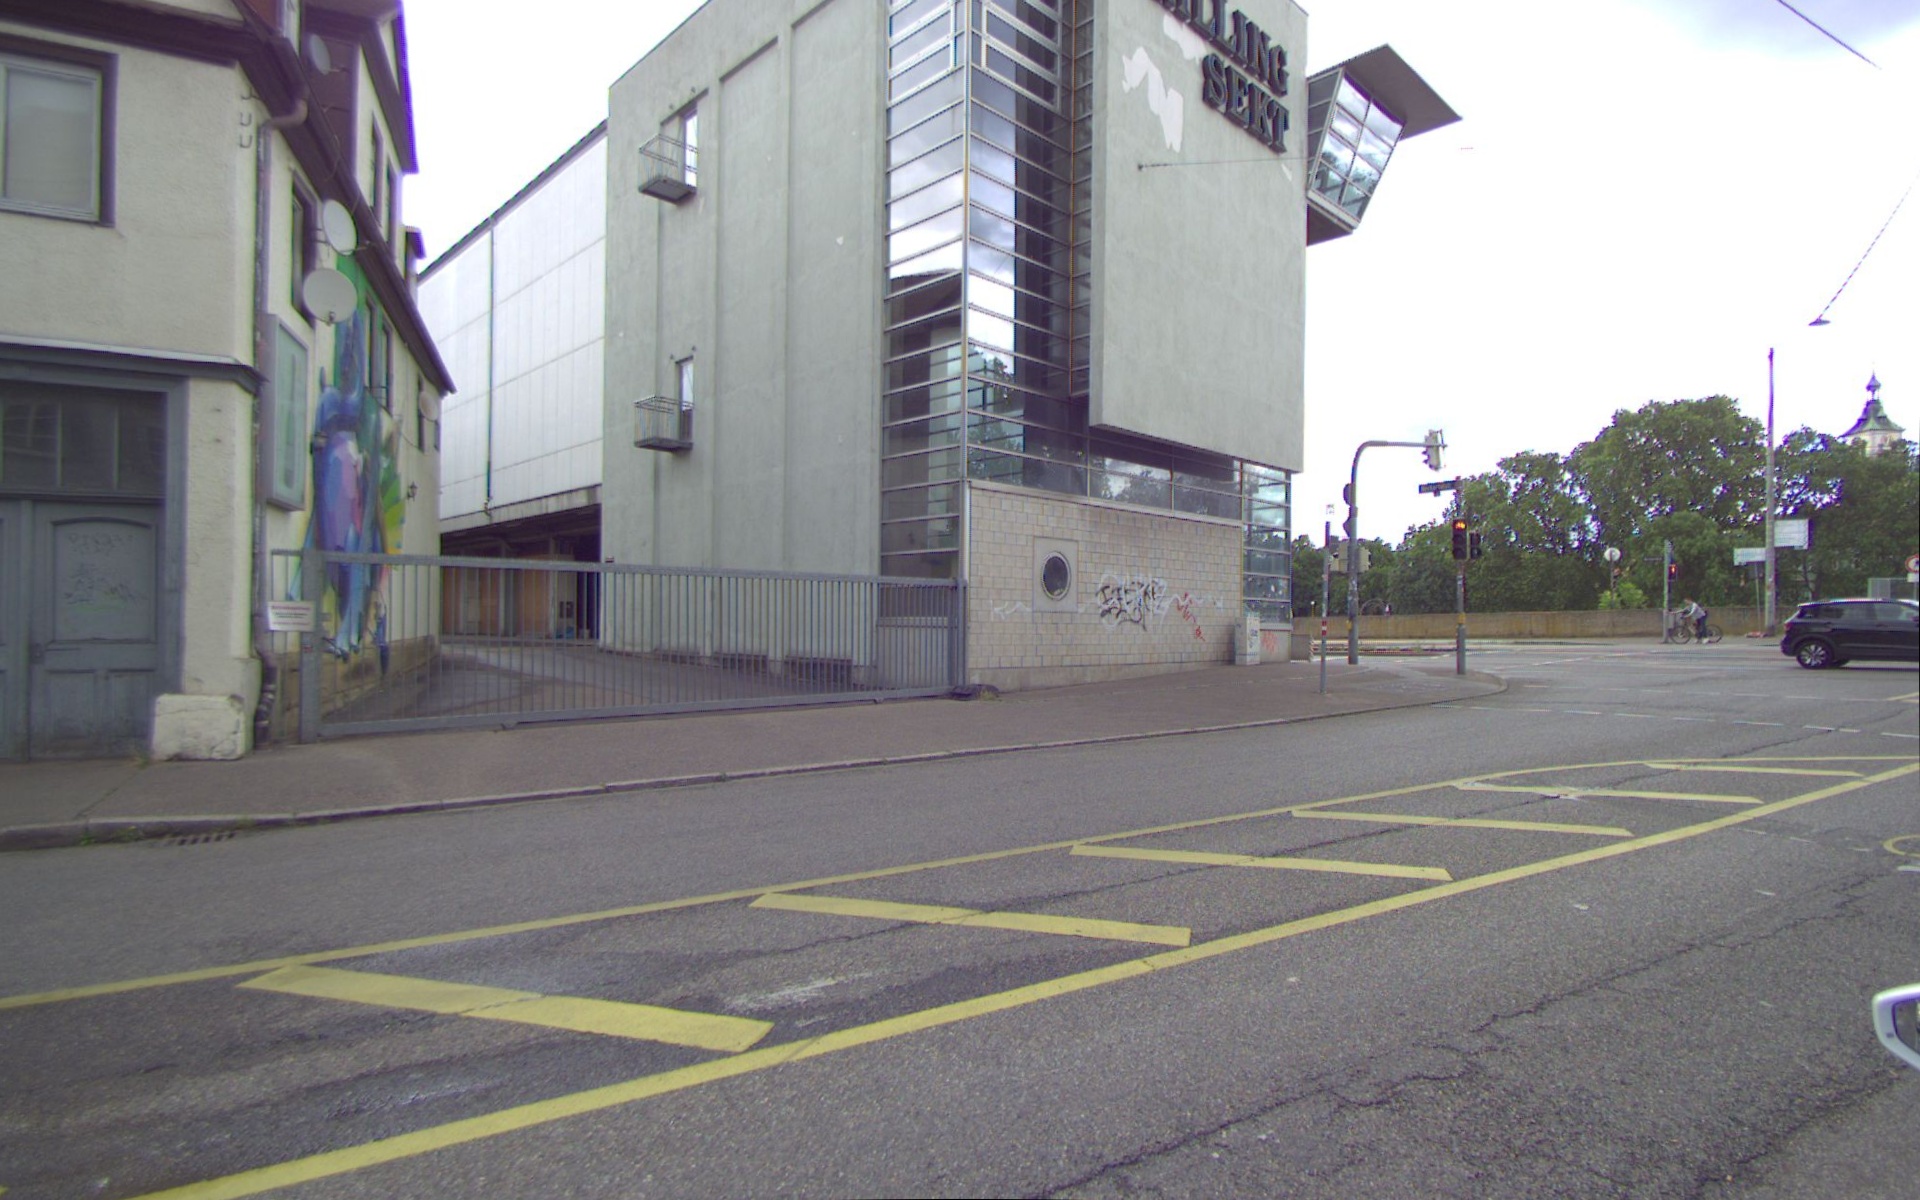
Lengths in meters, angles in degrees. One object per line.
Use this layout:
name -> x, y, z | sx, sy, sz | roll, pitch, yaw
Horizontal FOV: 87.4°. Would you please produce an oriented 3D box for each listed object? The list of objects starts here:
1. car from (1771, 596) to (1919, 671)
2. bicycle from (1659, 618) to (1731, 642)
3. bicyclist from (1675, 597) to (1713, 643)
car -> 20.732, 0.719, 22.186 | 1.810, 1.594, 4.044 | -1, -1, -35
bicycle -> 28.481, 1.153, 38.956 | 2.096, 0.904, 0.760 | -1, 0, 20
bicyclist -> 28.466, 0.780, 38.962 | 0.985, 1.767, 0.755 | 0, 0, 19
